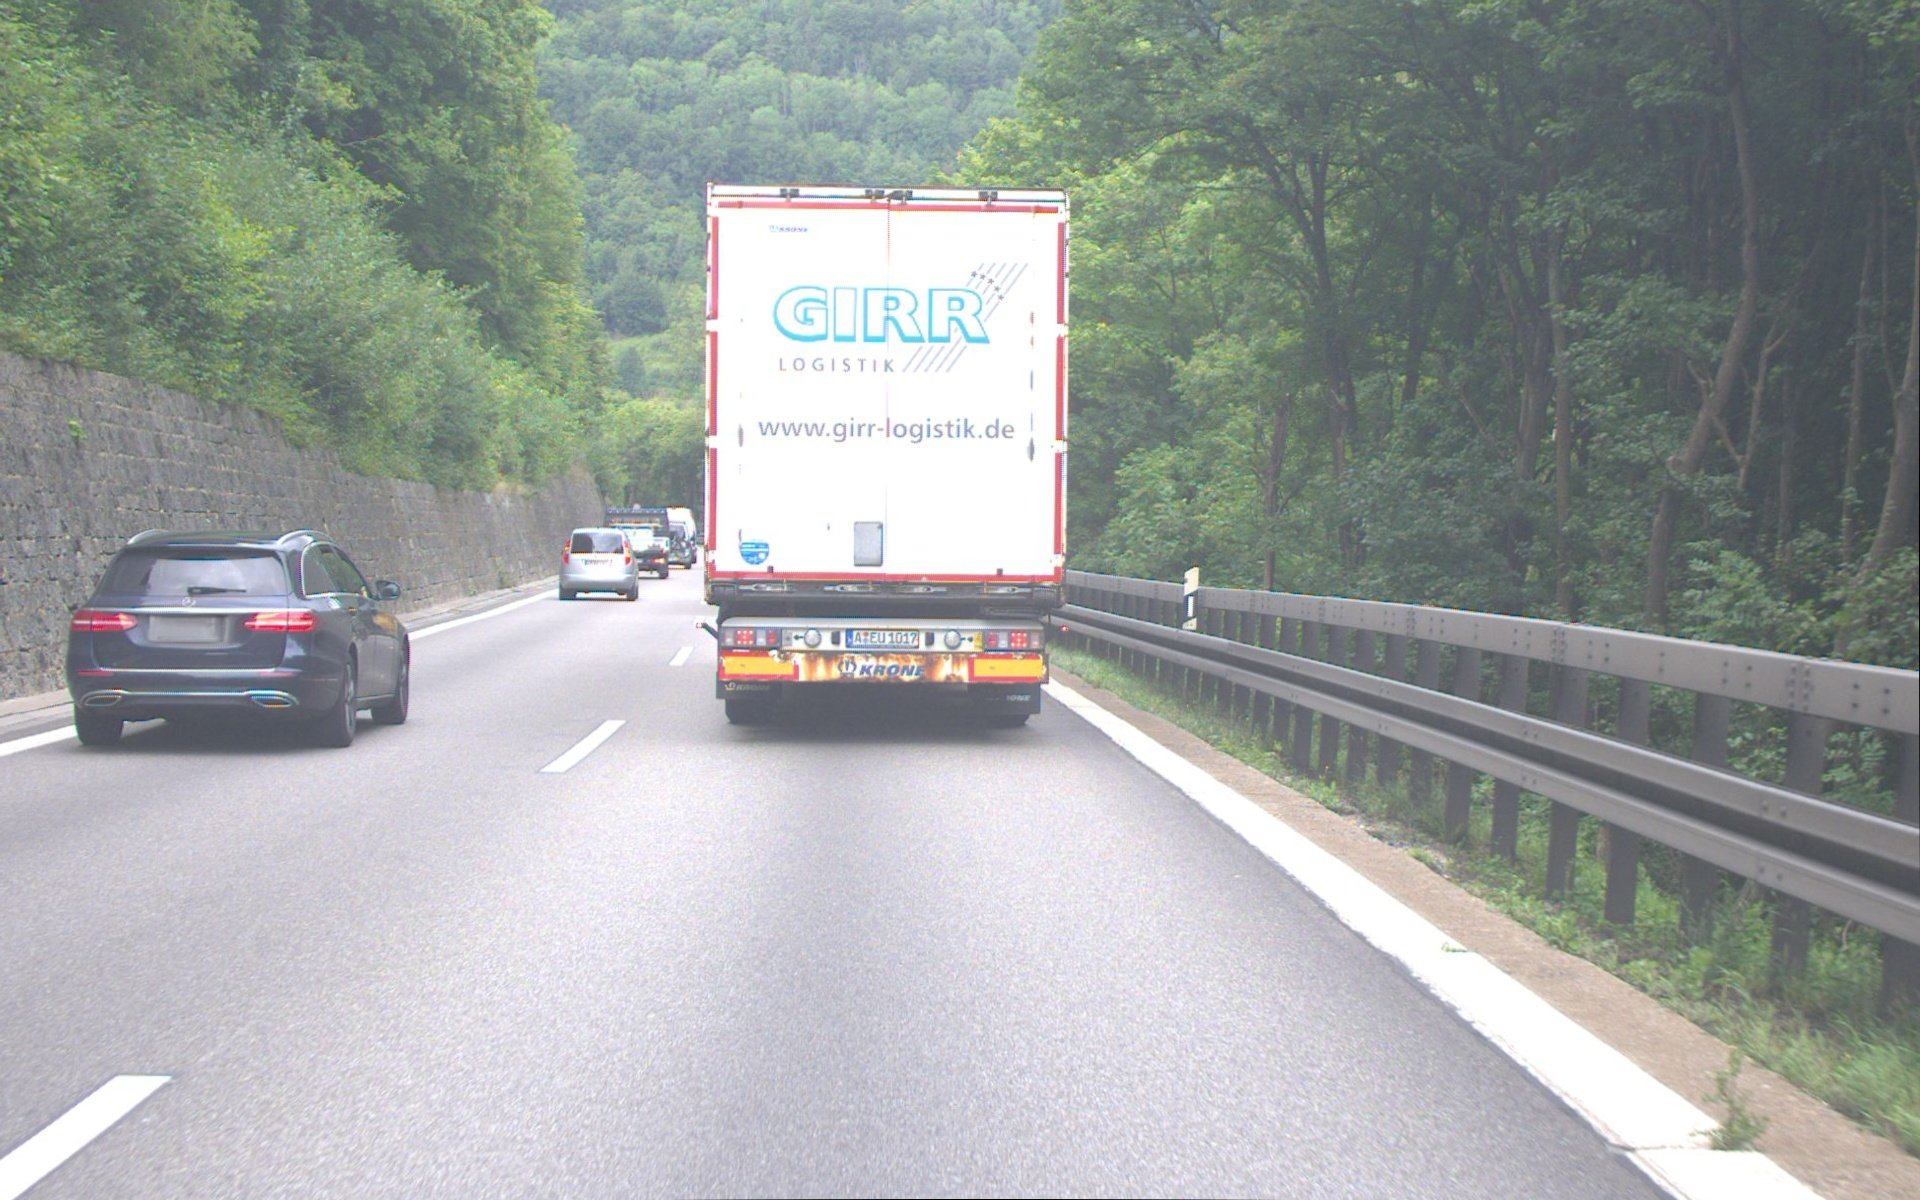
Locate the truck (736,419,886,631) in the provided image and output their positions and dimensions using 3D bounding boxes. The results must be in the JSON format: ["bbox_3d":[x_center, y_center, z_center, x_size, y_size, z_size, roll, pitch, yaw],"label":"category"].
[{"bbox_3d":[-2.969,-1.436,66.870,2.233,3.791,6.824,3,1,-7],"label":"truck"}]

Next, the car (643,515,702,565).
[{"bbox_3d":[-11.692,-2.467,139.948,2.018,1.907,5.564,3,1,-2],"label":"car"}]

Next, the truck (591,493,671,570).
[{"bbox_3d":[-10.527,-2.199,110.339,2.349,2.266,6.851,3,1,-5],"label":"truck"}]

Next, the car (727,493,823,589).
[{"bbox_3d":[-4.180,-1.332,78.306,1.993,2.007,4.334,3,1,-2],"label":"car"}]

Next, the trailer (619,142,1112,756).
[{"bbox_3d":[-0.863,-1.164,28.562,3.133,4.029,9.441,4,1,-3],"label":"trailer"}]

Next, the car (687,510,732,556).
[{"bbox_3d":[-11.817,-3.146,162.199,1.993,2.007,4.001,3,1,-4],"label":"car"}]

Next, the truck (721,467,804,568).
[{"bbox_3d":[-8.121,-3.331,140.573,3.068,3.864,8.460,3,1,-4],"label":"truck"}]

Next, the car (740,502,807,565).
[{"bbox_3d":[-6.357,-2.244,116.601,1.993,2.007,4.001,3,1,-6],"label":"car"}]

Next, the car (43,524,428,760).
[{"bbox_3d":[-5.041,0.212,24.601,1.760,1.458,5.123,1,1,-1],"label":"car"}]

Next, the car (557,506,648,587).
[{"bbox_3d":[-8.018,-1.212,77.389,1.634,1.720,4.345,2,1,-1],"label":"car"}]
